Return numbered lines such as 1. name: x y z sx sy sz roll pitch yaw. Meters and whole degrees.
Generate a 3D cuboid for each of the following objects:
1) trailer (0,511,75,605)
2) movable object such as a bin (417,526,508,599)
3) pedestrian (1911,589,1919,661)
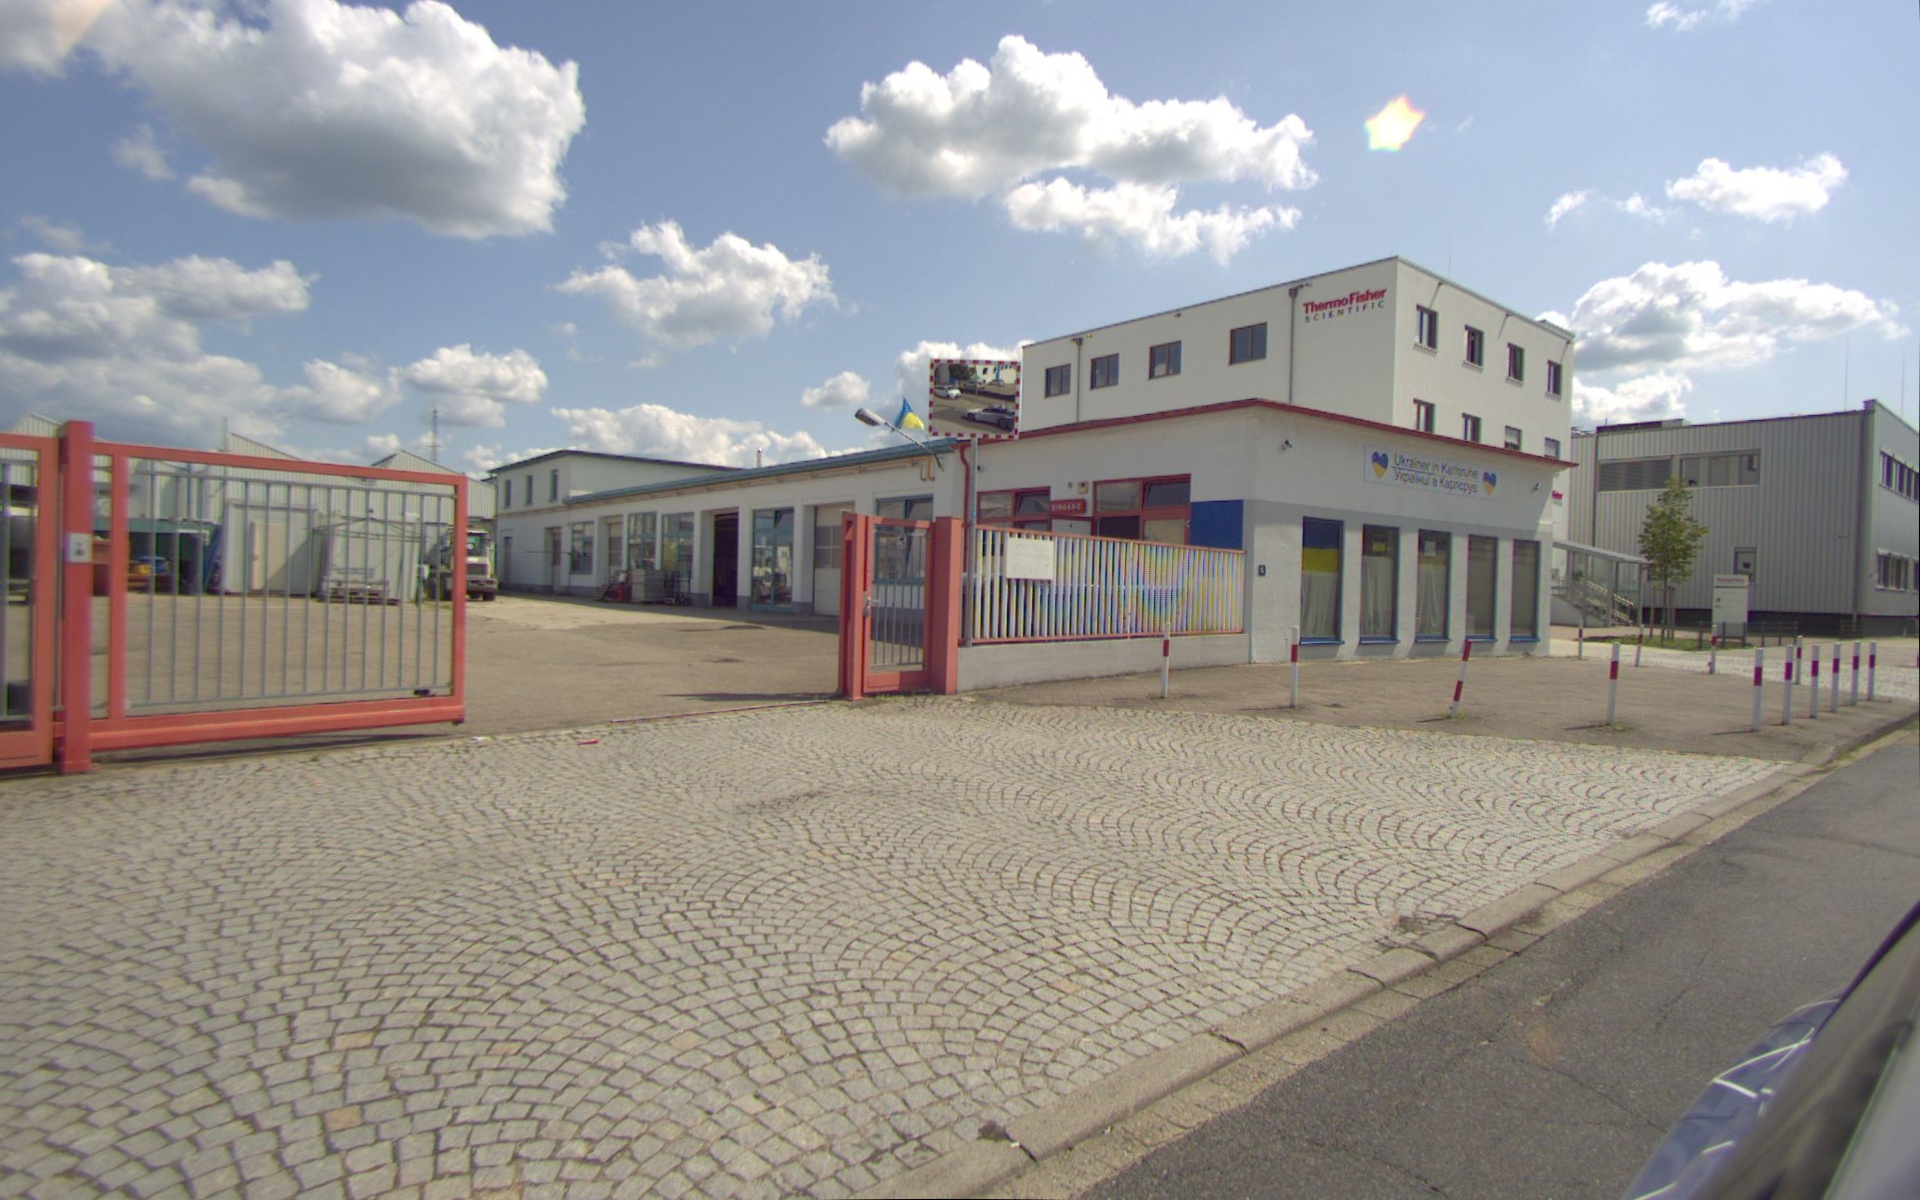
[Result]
1. trailer: -21.947 -0.999 22.762 4.714 1.964 1.734 3 2 32
2. movable object such as a bin: -17.992 -1.333 36.529 1.965 2.475 3.835 1 1 -42
3. pedestrian: 27.029 0.707 27.799 0.983 1.976 1.081 2 1 27
